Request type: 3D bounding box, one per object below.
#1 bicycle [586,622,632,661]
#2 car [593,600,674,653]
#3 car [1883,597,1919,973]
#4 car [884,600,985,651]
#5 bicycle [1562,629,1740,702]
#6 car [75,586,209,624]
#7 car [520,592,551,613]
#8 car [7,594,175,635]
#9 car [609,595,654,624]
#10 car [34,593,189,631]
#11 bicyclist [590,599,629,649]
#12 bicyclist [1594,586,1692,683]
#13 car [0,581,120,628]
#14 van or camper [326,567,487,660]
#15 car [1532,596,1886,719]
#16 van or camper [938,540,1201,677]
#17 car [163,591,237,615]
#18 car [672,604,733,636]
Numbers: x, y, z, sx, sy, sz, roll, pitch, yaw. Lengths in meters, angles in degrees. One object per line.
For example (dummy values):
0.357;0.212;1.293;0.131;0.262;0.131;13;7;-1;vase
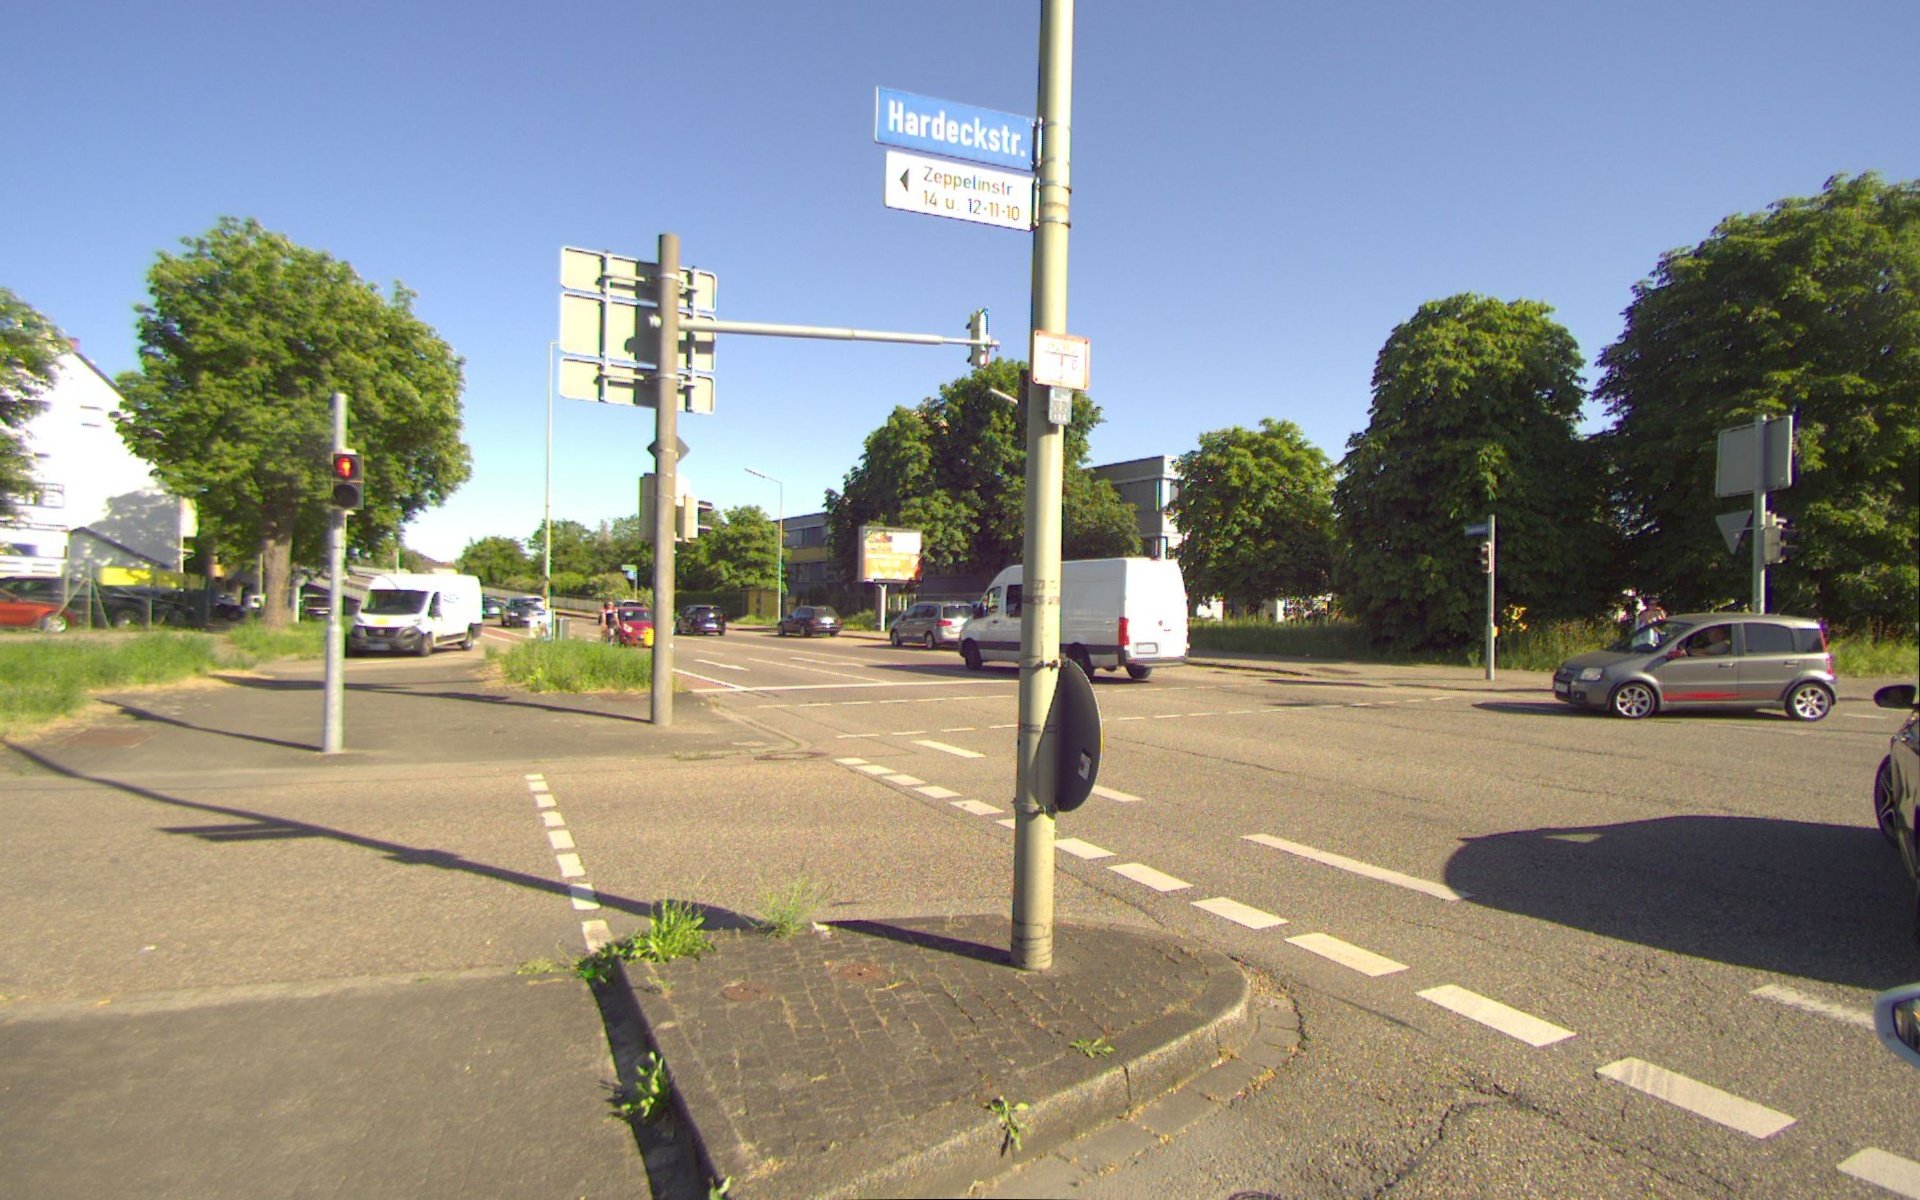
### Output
-10.296;1.201;29.411;0.929;1.030;2.180;2;0;-29;bicycle
-12.130;0.951;37.126;1.838;1.759;4.232;1;0;-32;car
5.999;0.835;5.135;1.749;1.614;3.969;1;-1;41;car
-1.038;0.906;37.769;1.857;1.745;4.575;-1;0;-30;car
12.604;1.153;18.490;0.887;1.140;2.948;2;0;-9;bicycle
-37.104;0.267;45.657;1.784;1.596;4.396;2;0;34;car
-33.466;0.157;79.164;1.859;1.564;3.971;2;0;-28;car
-29.108;0.487;33.736;2.011;1.257;3.919;2;0;36;car
-20.141;0.549;61.512;1.975;1.702;3.970;0;0;-28;car
-30.511;0.454;36.210;2.011;1.257;3.919;2;0;36;car
-10.272;0.700;29.398;0.925;1.420;0.816;2;0;-29;bicyclist
12.606;0.629;18.573;0.876;1.715;1.188;2;0;-10;bicyclist
-28.038;0.099;29.207;2.315;1.327;5.058;2;0;23;car
-17.354;0.403;32.015;2.559;2.617;6.598;0;0;-11;van or camper
11.196;0.822;15.293;3.919;1.661;1.812;1;-1;9;car
2.302;0.166;23.894;2.210;2.775;7.014;2;0;-33;van or camper
-53.032;0.231;70.154;1.751;1.530;3.667;2;0;24;car
-12.783;0.983;49.771;1.902;1.508;4.236;0;0;-30;car
